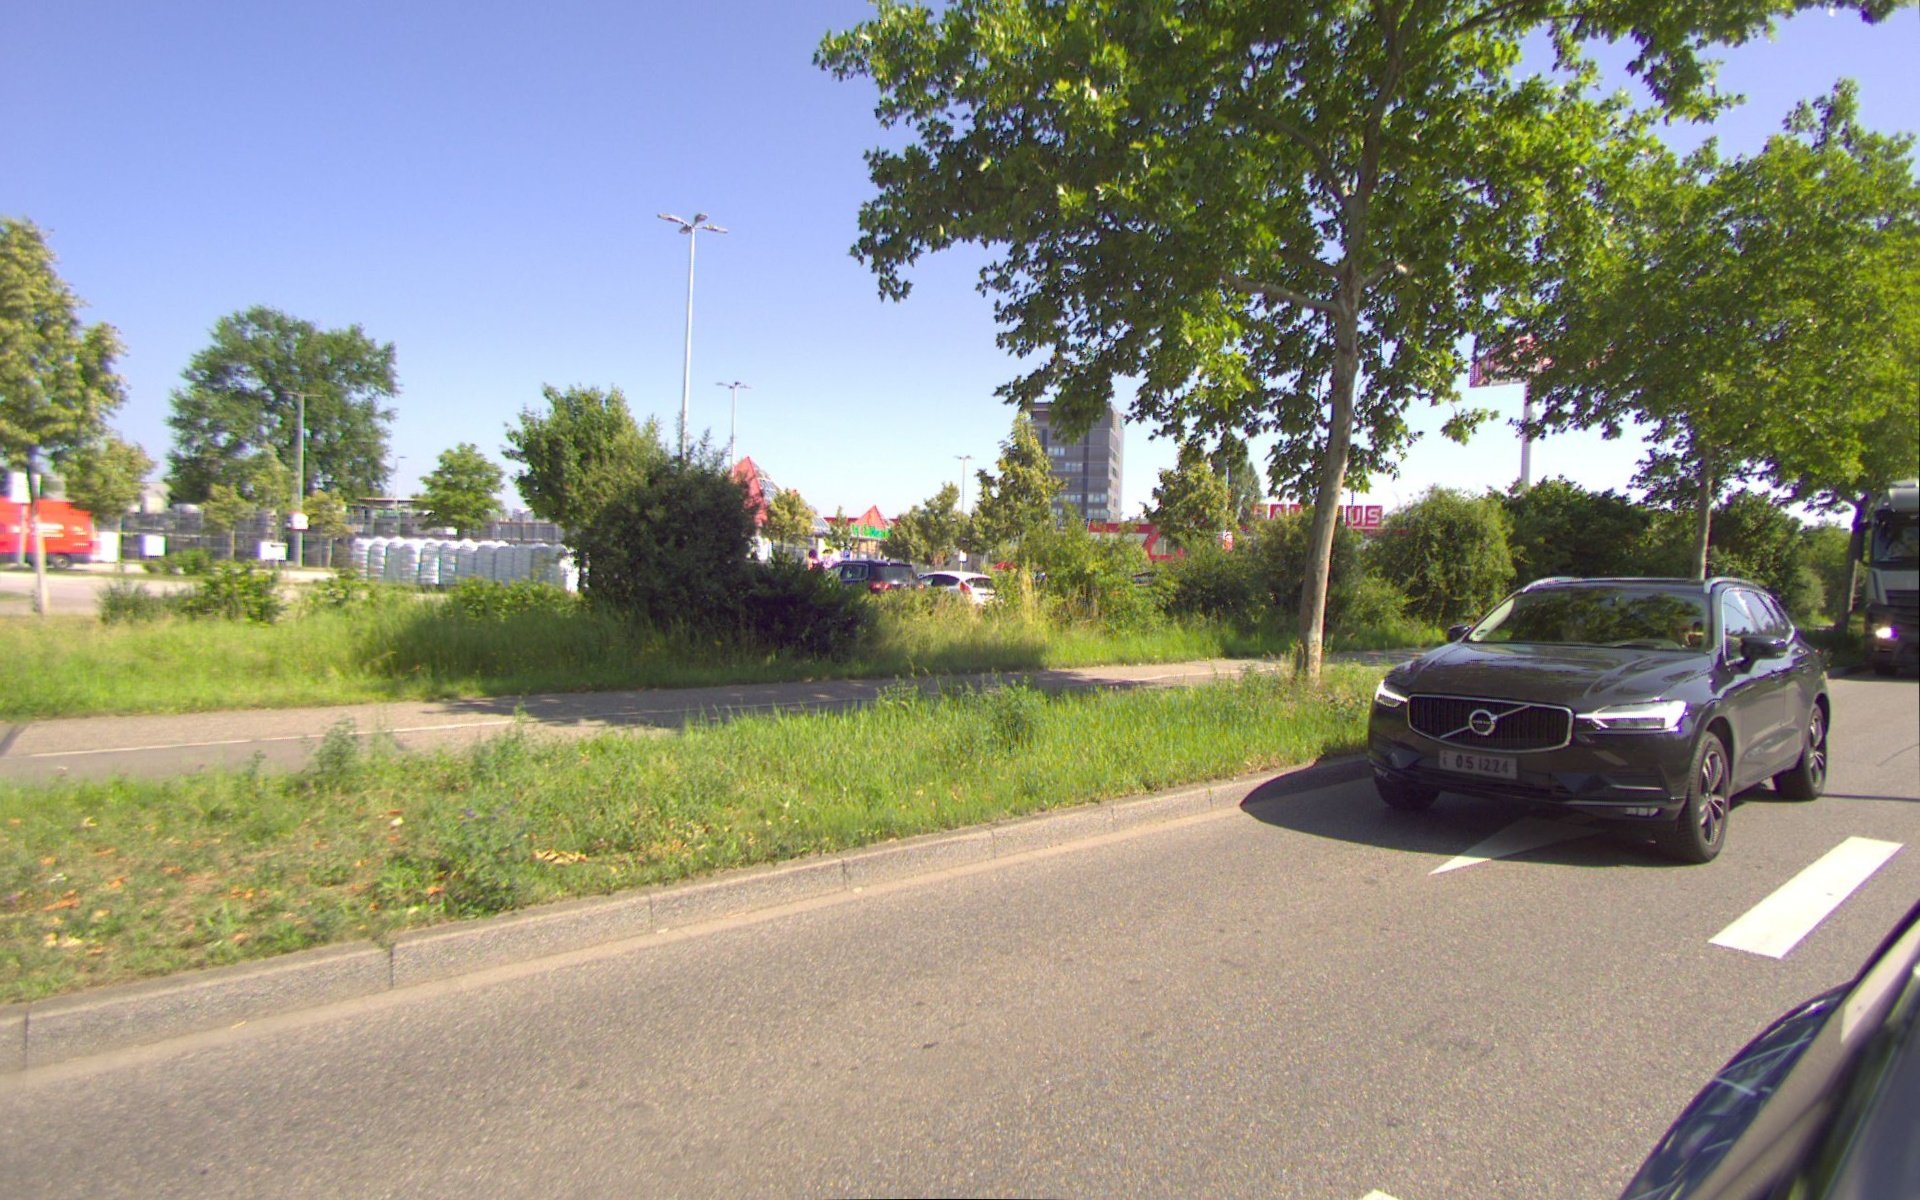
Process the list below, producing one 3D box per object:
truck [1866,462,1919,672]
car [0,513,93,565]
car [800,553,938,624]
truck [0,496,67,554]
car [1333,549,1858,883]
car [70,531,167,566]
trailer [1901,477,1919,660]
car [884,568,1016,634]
[{"bbox_3d":[20.632,-0.630,20.448,5.749,3.943,2.739,0,1,-41],"label":"truck"},{"bbox_3d":[-45.111,-2.877,47.997,2.087,2.370,5.903,1,1,18],"label":"car"},{"bbox_3d":[-2.412,-0.316,26.305,3.549,1.717,1.692,1,1,45],"label":"car"},{"bbox_3d":[-58.079,-4.507,59.846,1.971,3.289,8.189,0,1,15],"label":"truck"},{"bbox_3d":[4.696,0.536,7.180,4.485,1.642,1.923,0,1,-41],"label":"car"},{"bbox_3d":[-52.615,-3.201,63.399,1.971,2.039,4.370,1,1,15],"label":"car"},{"bbox_3d":[26.148,-0.724,25.226,10.608,4.097,2.803,0,1,-41],"label":"trailer"},{"bbox_3d":[-0.330,-0.017,28.158,3.549,1.717,1.692,1,1,45],"label":"car"}]
